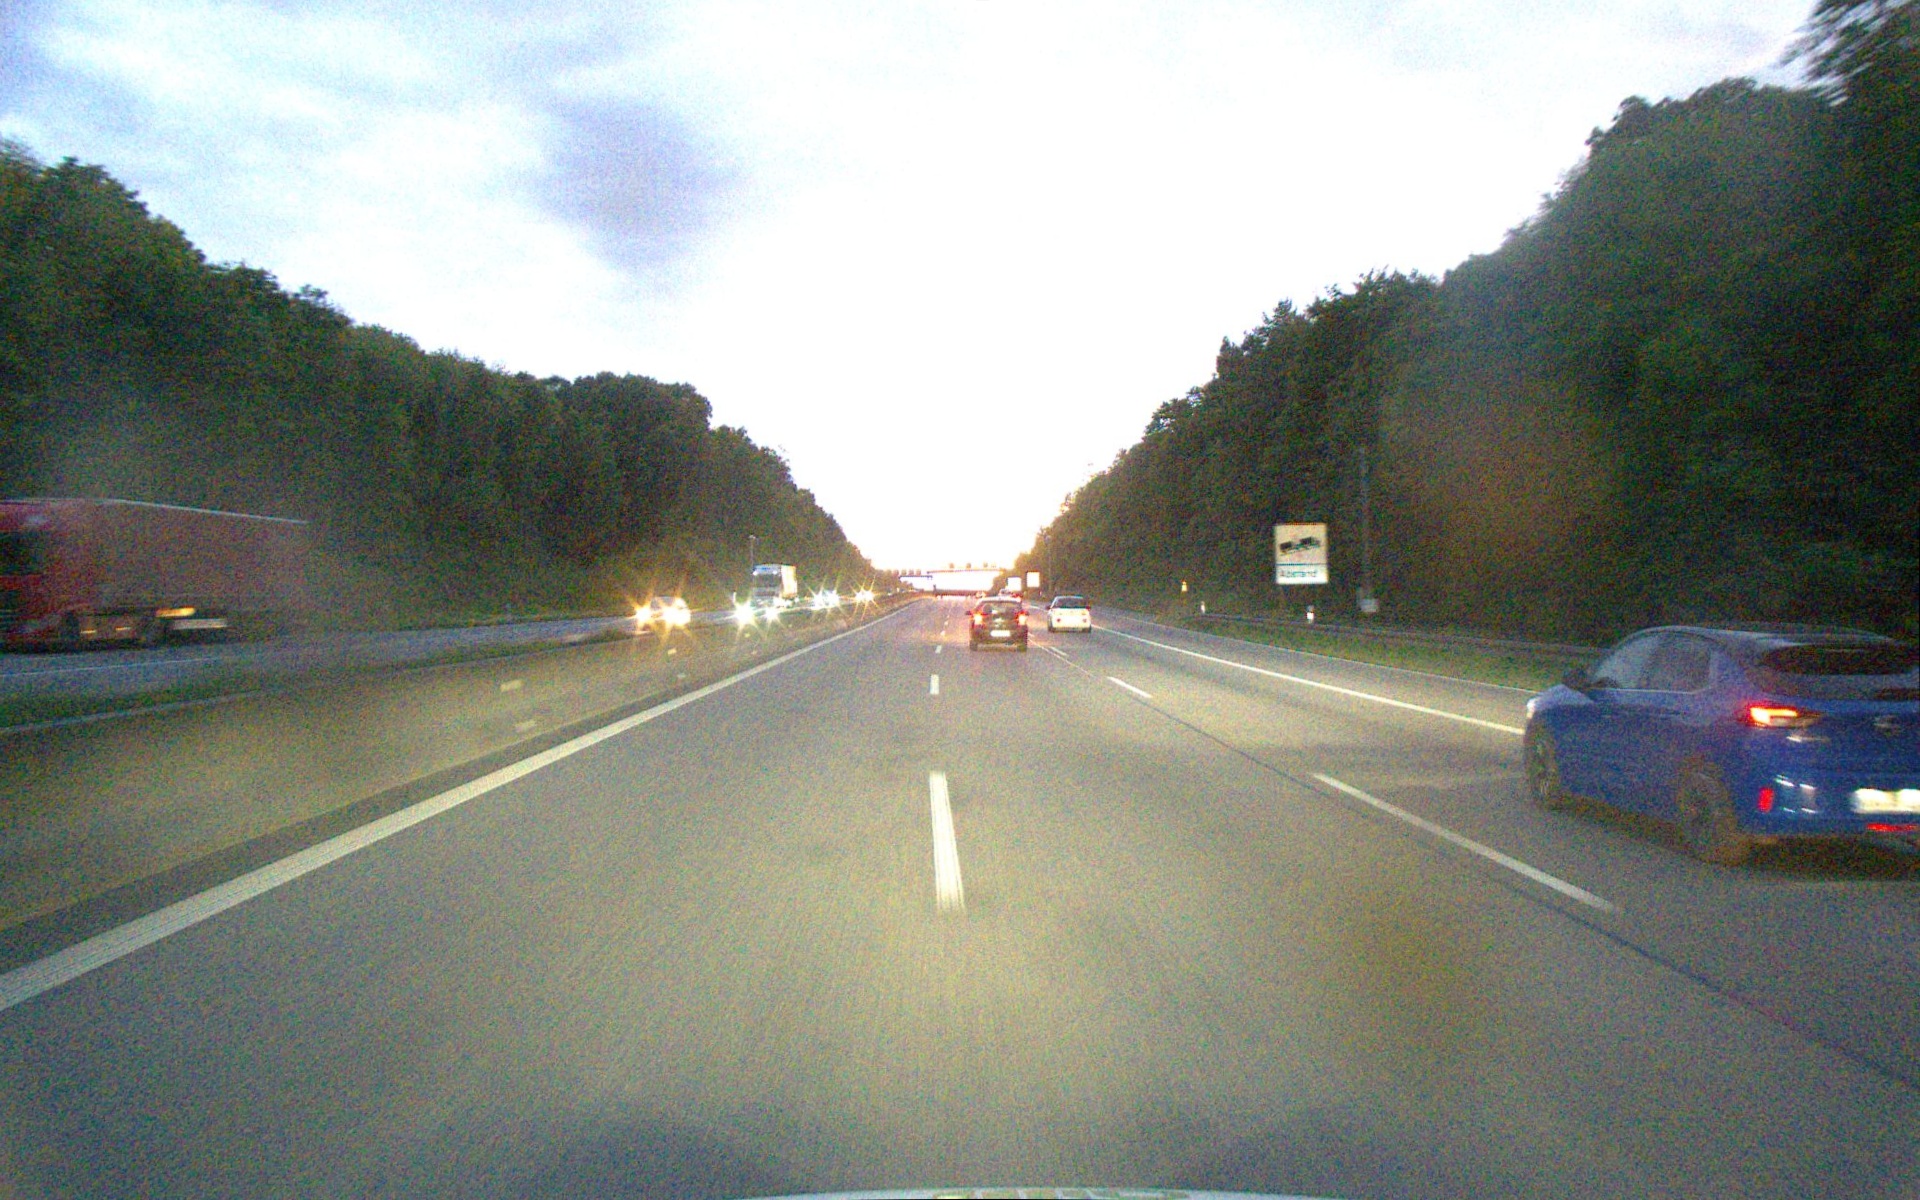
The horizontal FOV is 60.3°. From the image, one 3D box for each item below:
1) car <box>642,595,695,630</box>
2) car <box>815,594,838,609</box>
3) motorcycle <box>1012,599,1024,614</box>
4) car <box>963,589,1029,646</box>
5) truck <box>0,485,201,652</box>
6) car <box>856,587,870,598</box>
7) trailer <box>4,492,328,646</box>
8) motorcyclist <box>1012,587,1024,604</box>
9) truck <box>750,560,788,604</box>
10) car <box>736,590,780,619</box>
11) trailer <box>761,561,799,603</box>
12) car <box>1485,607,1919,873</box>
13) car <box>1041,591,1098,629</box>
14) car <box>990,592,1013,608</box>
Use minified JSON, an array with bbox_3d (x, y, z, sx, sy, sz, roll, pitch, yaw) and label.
[{"bbox_3d":[-13.147,0.546,74.716,1.652,1.541,4.414,0,0,0],"label":"car"},{"bbox_3d":[-13.692,0.106,169.731,1.871,1.477,5.354,0,0,0],"label":"car"},{"bbox_3d":[4.473,0.483,127.768,0.813,1.154,2.475,0,0,0],"label":"motorcycle"},{"bbox_3d":[0.992,0.525,47.502,1.669,1.536,4.230,1,-1,-2],"label":"car"},{"bbox_3d":[-24.289,-0.784,45.492,3.125,4.176,7.689,0,0,1],"label":"truck"},{"bbox_3d":[-14.156,-1.079,241.336,1.842,1.602,4.654,-1,0,-1],"label":"car"},{"bbox_3d":[-24.212,-0.810,51.914,3.125,4.176,14.184,0,0,1],"label":"trailer"},{"bbox_3d":[4.475,-0.371,127.710,0.813,1.314,1.190,0,-1,0],"label":"motorcyclist"},{"bbox_3d":[-17.862,-1.661,155.216,2.592,4.041,7.123,0,0,1],"label":"truck"},{"bbox_3d":[-10.119,0.197,83.172,1.813,1.406,4.642,0,0,-2],"label":"car"},{"bbox_3d":[-17.752,-1.765,163.864,2.592,3.999,10.186,0,0,0],"label":"trailer"},{"bbox_3d":[5.359,0.804,11.555,1.827,1.461,4.582,1,0,-1],"label":"car"},{"bbox_3d":[4.543,0.420,69.137,1.790,1.501,4.394,1,-1,-4],"label":"car"},{"bbox_3d":[3.974,0.017,159.030,1.828,1.520,4.394,1,-1,-4],"label":"car"}]
